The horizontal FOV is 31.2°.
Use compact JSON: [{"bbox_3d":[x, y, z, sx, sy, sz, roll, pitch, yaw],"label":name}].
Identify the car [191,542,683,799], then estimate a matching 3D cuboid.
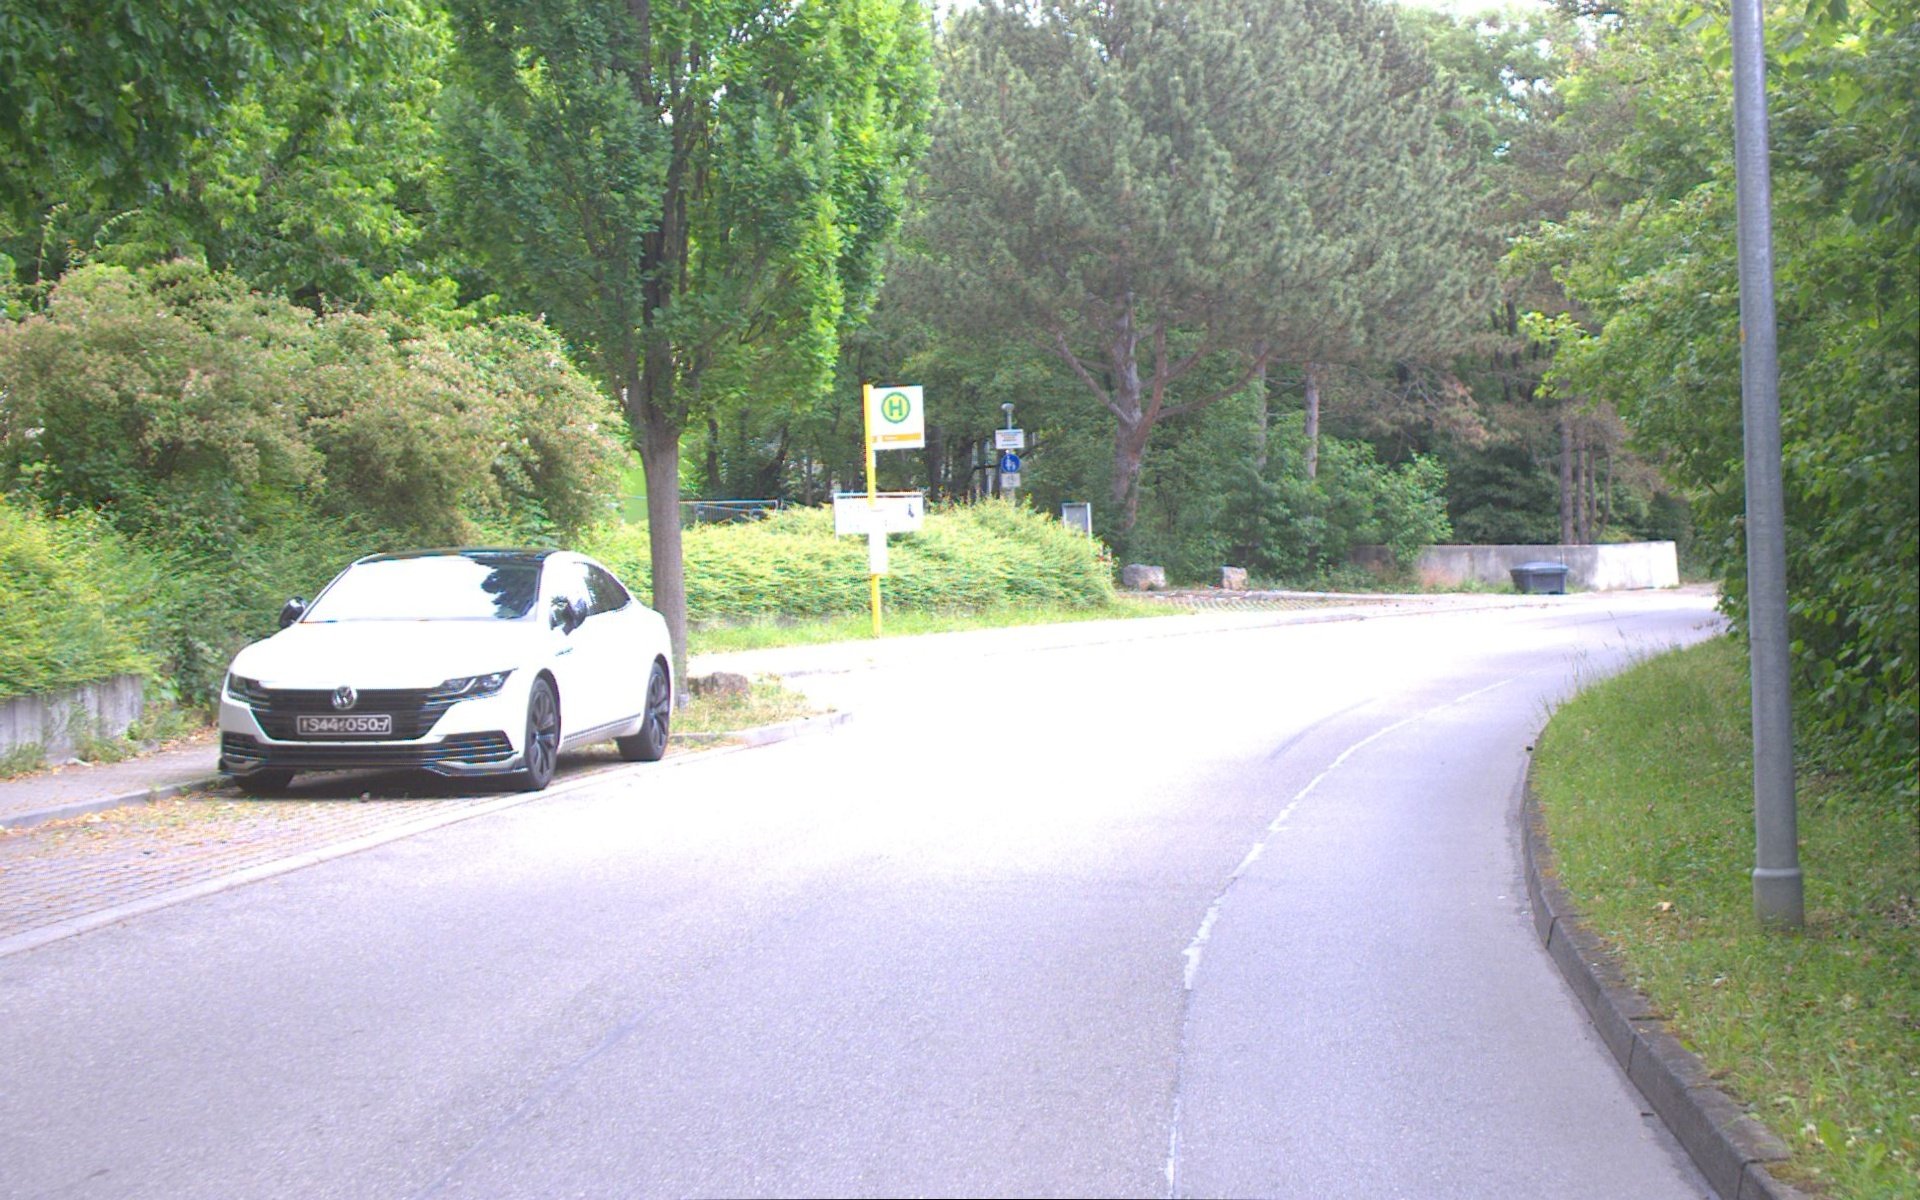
[{"bbox_3d":[-3.085,0.353,21.240,1.814,1.419,4.359,0,1,8],"label":"car"}]
